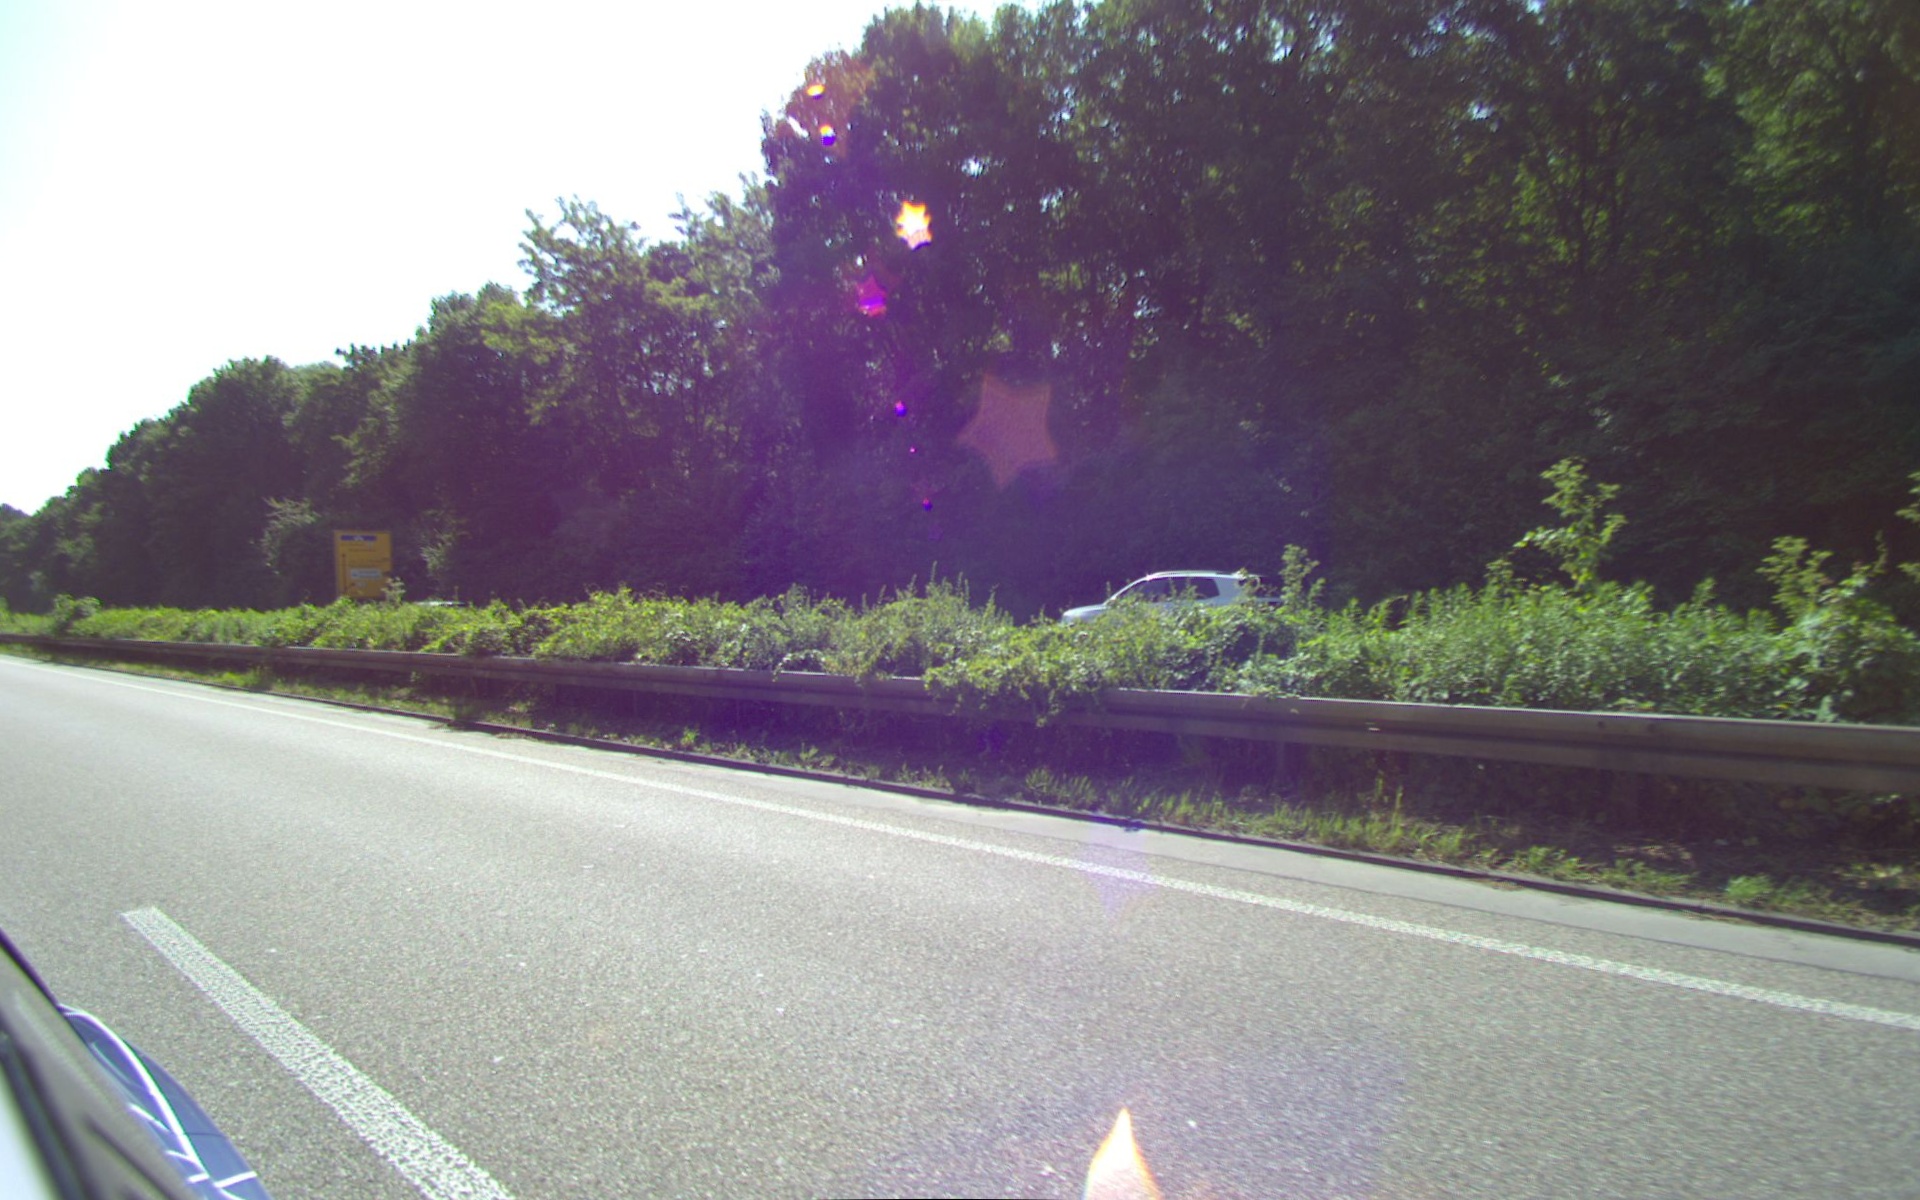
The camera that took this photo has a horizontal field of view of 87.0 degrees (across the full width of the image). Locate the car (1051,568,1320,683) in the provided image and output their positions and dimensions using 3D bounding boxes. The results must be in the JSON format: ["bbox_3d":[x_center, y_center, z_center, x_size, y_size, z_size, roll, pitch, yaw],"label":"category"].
[{"bbox_3d":[3.616,0.411,16.640,3.997,1.674,1.675,-1,-1,40],"label":"car"}]

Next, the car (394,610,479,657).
[{"bbox_3d":[-18.740,1.189,36.206,3.382,1.578,1.533,-1,0,40],"label":"car"}]
